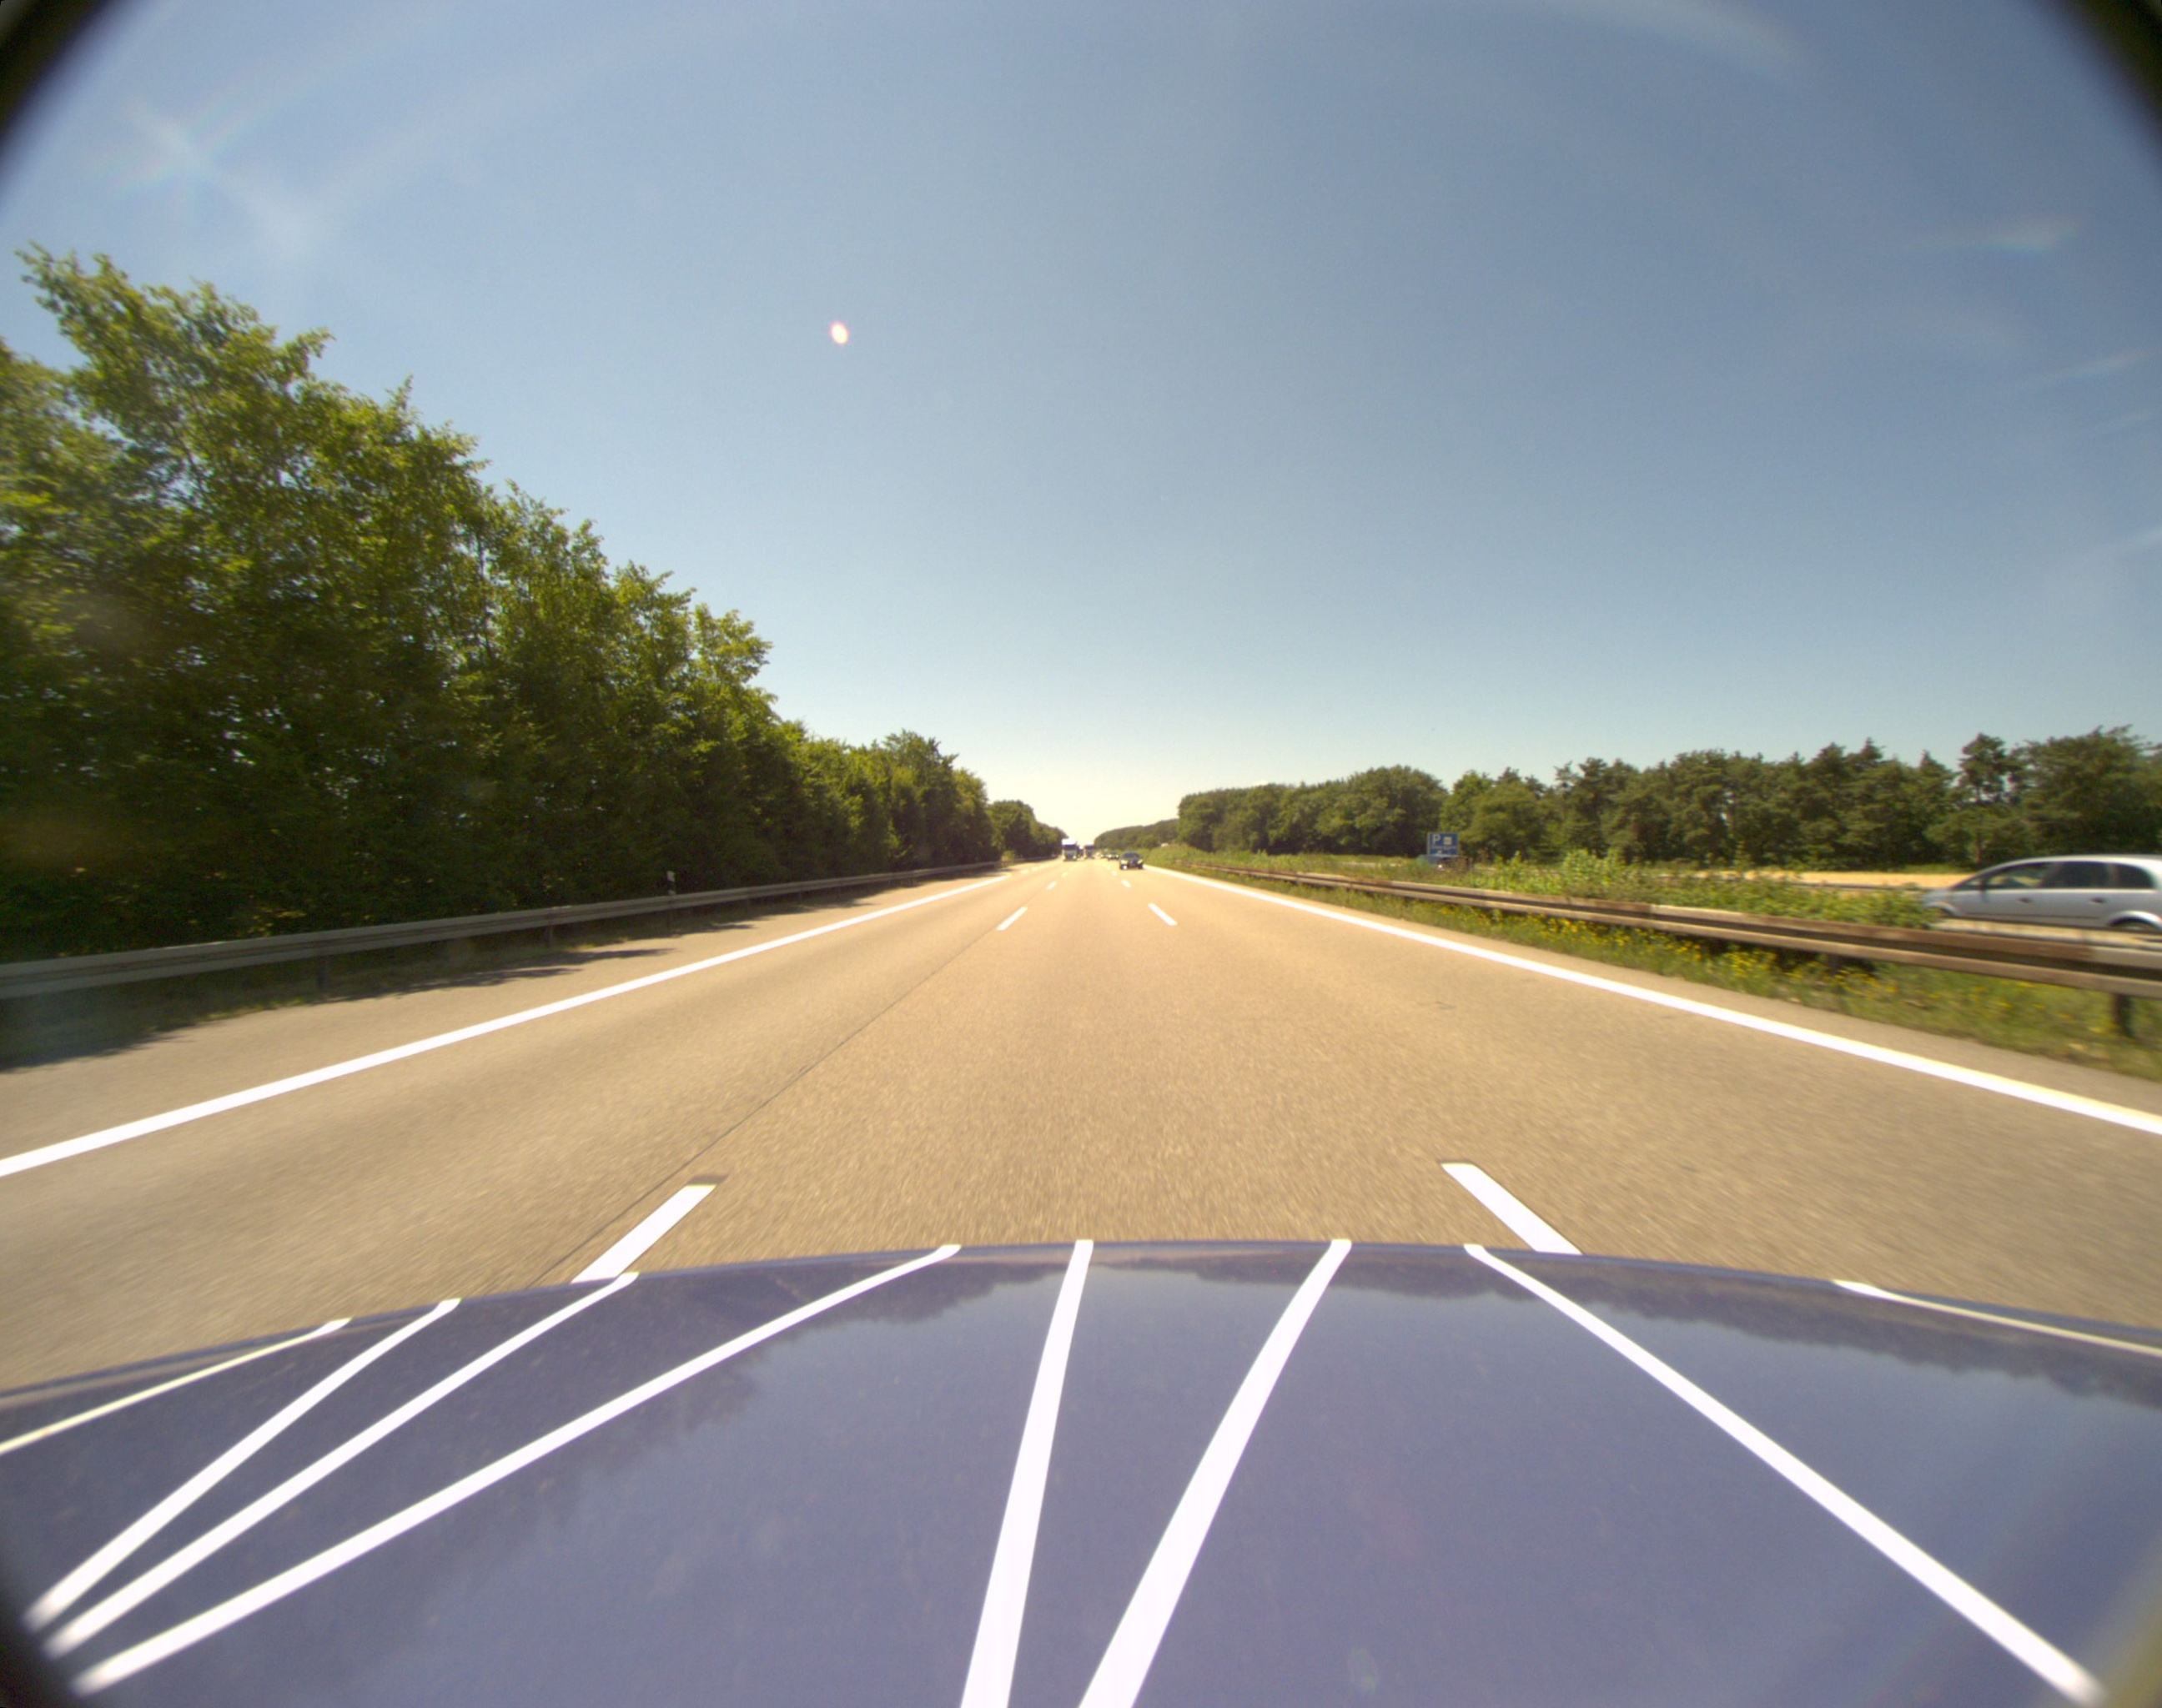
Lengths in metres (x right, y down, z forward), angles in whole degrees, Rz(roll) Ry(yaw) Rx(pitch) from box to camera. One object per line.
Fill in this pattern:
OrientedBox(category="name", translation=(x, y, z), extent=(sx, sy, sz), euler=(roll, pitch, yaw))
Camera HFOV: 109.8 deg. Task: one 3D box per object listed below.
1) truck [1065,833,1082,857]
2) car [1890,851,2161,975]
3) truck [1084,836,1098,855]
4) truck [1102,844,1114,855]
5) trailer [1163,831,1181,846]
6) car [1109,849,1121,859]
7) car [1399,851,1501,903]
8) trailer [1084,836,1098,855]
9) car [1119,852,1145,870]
OrientedBox(category="truck", translation=(-1.347, -1.653, 141.391), extent=(2.863, 4.247, 6.862), euler=(-2, 1, -1))
OrientedBox(category="car", translation=(16.620, 0.855, 12.543), extent=(1.852, 1.768, 4.430), euler=(0, 1, 1))
OrientedBox(category="truck", translation=(2.315, -1.916, 173.896), extent=(2.863, 4.247, 5.410), euler=(-2, 1, 0))
OrientedBox(category="truck", translation=(6.319, -1.057, 181.263), extent=(2.576, 2.461, 5.614), euler=(-2, 1, 0))
OrientedBox(category="trailer", translation=(23.666, -3.999, 199.028), extent=(3.187, 3.677, 14.381), euler=(-2, 0, 1))
OrientedBox(category="car", translation=(5.777, -0.012, 129.169), extent=(1.806, 1.774, 3.999), euler=(-1, 1, 1))
OrientedBox(category="car", translation=(13.473, 0.791, 28.034), extent=(1.879, 1.768, 4.000), euler=(0, 1, 1))
OrientedBox(category="trailer", translation=(2.353, -1.997, 183.087), extent=(2.863, 4.247, 11.470), euler=(-2, 1, 0))
OrientedBox(category="car", translation=(4.225, 0.611, 63.498), extent=(1.811, 1.399, 4.000), euler=(-3, -1, -1))
